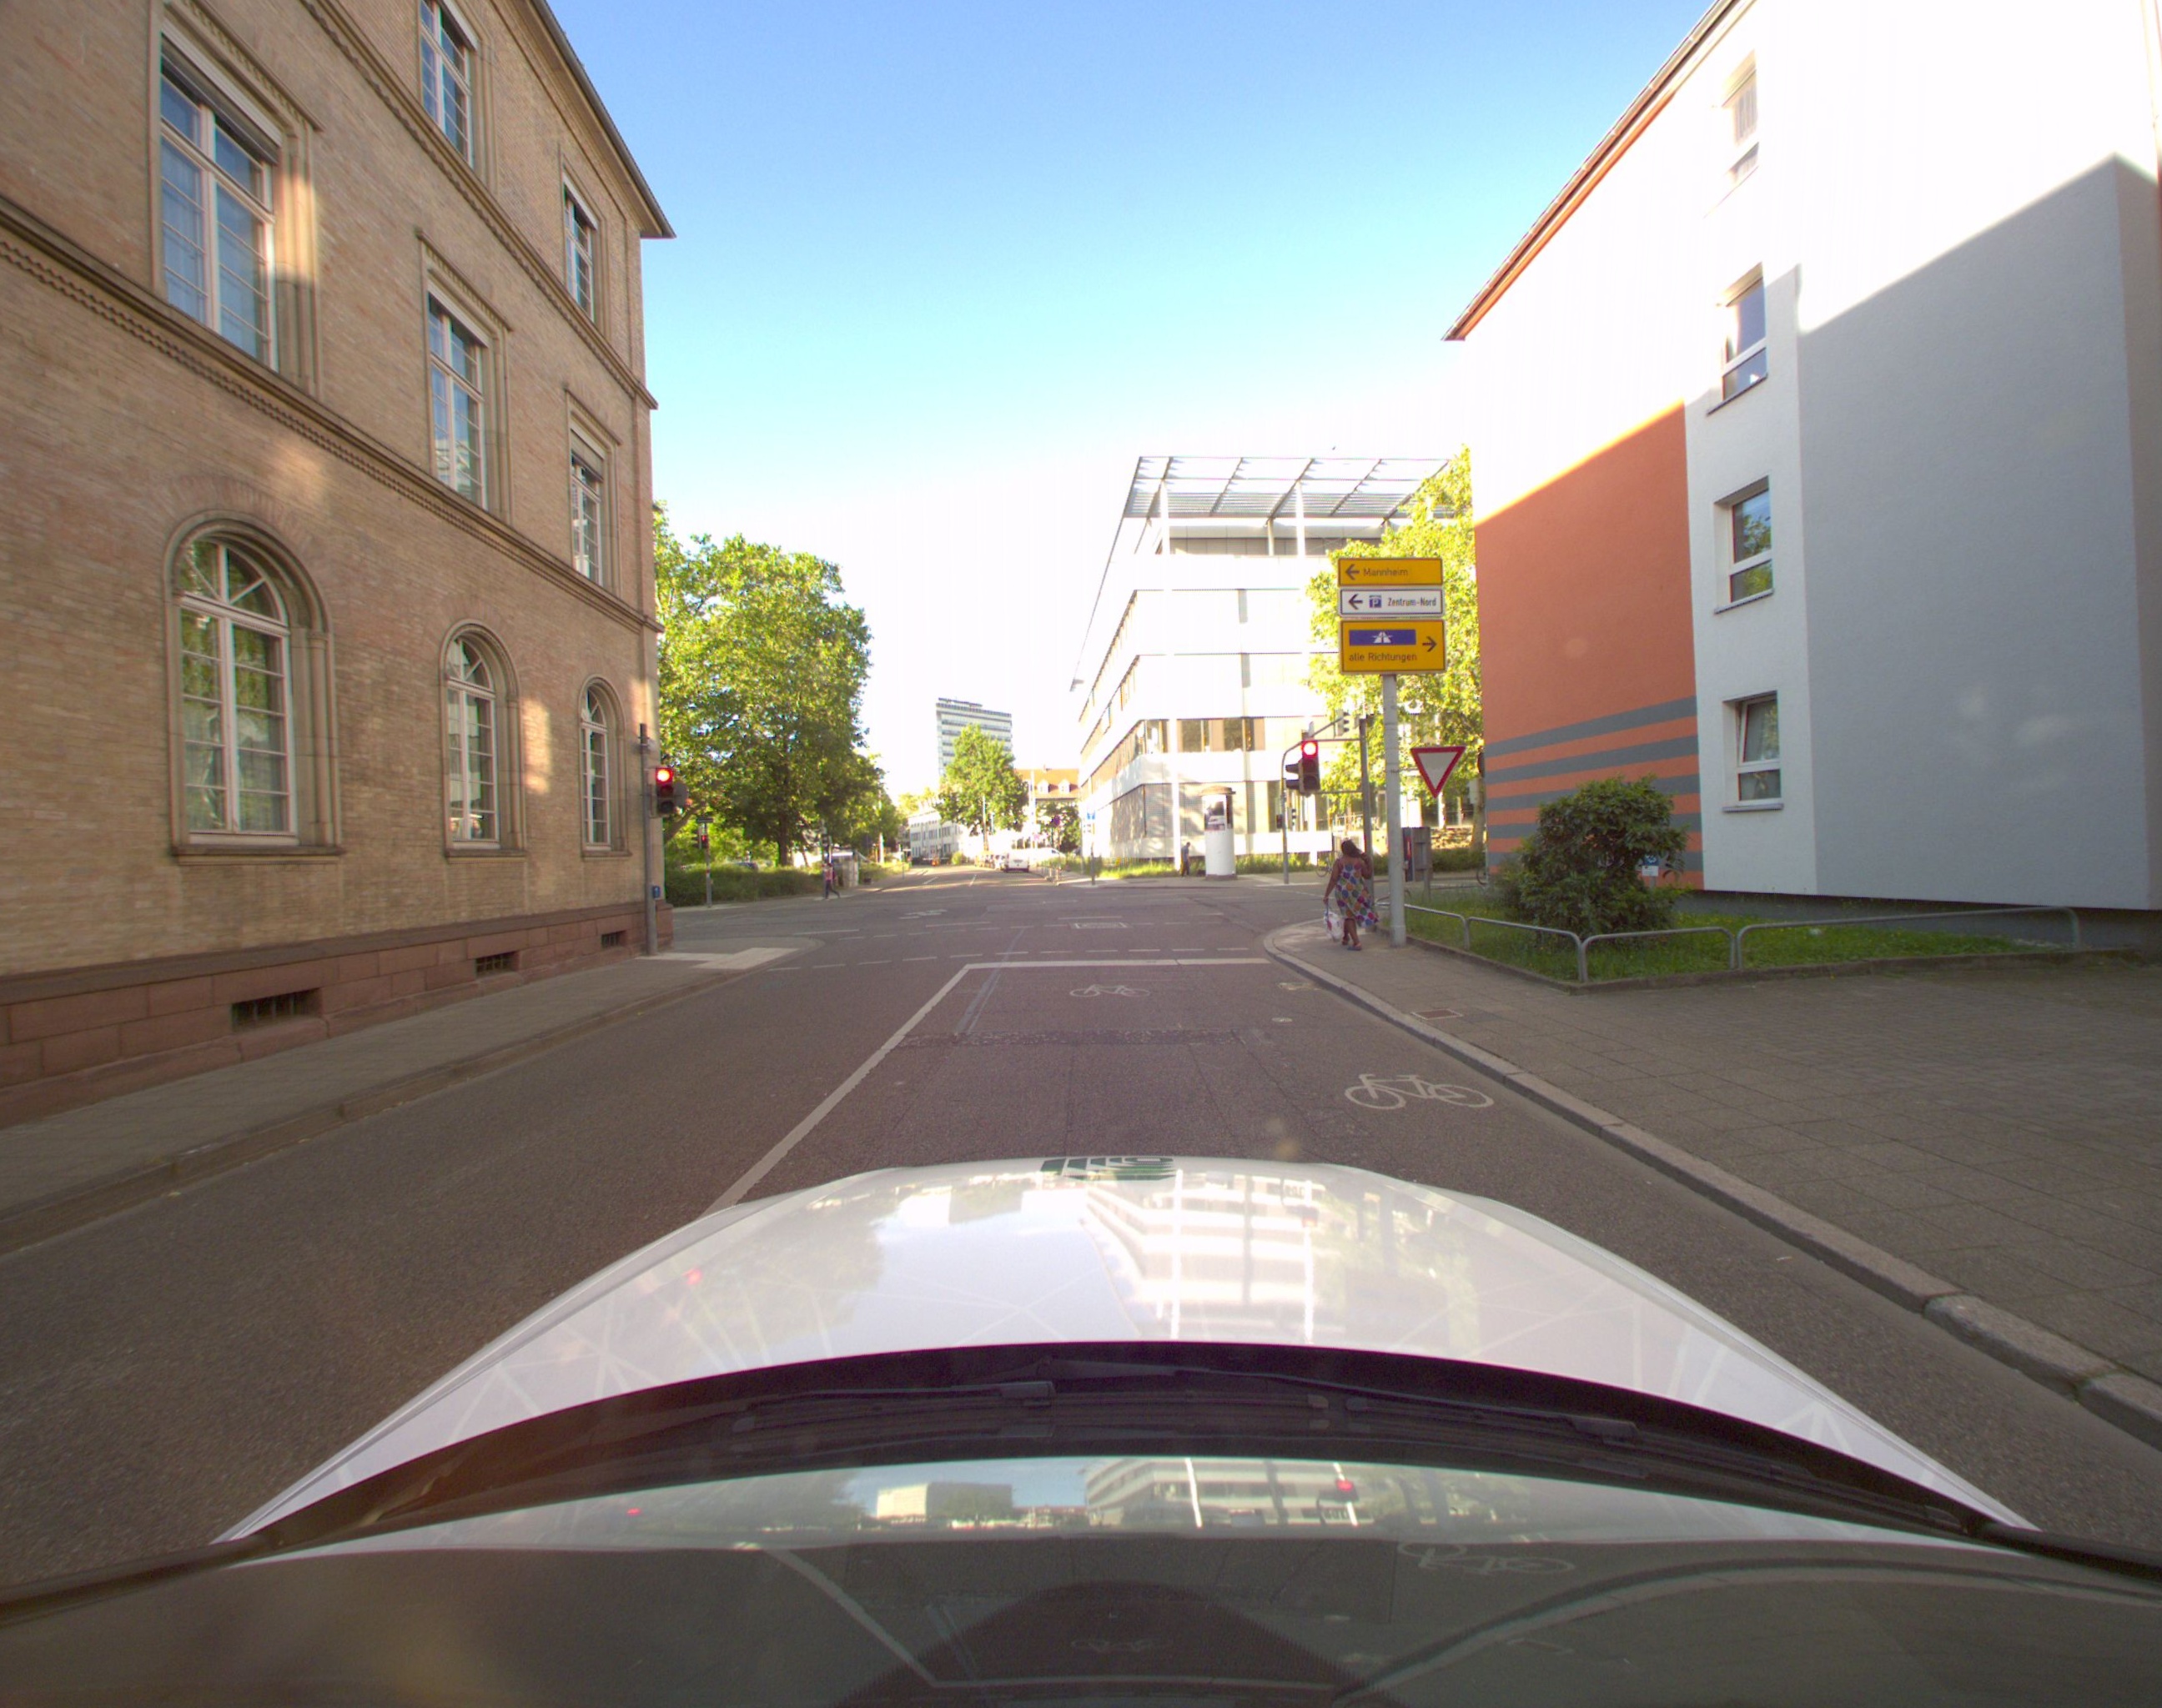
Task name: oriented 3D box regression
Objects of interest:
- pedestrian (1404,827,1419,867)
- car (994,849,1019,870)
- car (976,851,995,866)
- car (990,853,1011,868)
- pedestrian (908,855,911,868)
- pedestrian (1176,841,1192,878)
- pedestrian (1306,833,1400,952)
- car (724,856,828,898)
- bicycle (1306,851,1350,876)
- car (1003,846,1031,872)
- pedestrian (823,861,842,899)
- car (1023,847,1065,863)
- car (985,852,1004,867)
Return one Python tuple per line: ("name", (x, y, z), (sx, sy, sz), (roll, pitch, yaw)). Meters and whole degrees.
("pedestrian", (15.623, -0.331, 38.522), (0.533, 1.831, 1.045), (-2, 0, 17))
("car", (-7.080, 0.492, 76.819), (1.947, 1.795, 4.223), (-2, 0, -11))
("car", (-11.313, 0.509, 96.155), (2.100, 1.658, 4.461), (-2, 0, -9))
("car", (-8.111, 0.628, 81.768), (1.705, 1.424, 4.221), (-2, 0, -11))
("pedestrian", (-21.407, 0.961, 101.640), (0.380, 1.534, 0.444), (-2, 0, -10))
("pedestrian", (4.904, 0.266, 38.810), (0.649, 1.736, 0.814), (-2, 0, 6))
("pedestrian", (3.892, 0.535, 11.717), (0.952, 1.573, 0.750), (-5, 0, -3))
("car", (-14.400, 1.072, 38.668), (4.219, 1.777, 1.901), (-2, 0, -7))
("bicycle", (10.902, 0.438, 36.029), (0.467, 1.049, 1.893), (-2, 0, -40))
("car", (-5.132, 0.401, 64.966), (2.065, 1.963, 4.228), (-2, 0, -7))
("pedestrian", (-10.793, 1.139, 35.361), (0.714, 1.599, 0.613), (-2, 0, -22))
("car", (-4.698, 0.098, 103.152), (4.889, 1.872, 1.990), (-1, -1, -15))
("car", (-9.204, 0.551, 86.274), (1.704, 1.464, 4.225), (-2, 0, -9))
